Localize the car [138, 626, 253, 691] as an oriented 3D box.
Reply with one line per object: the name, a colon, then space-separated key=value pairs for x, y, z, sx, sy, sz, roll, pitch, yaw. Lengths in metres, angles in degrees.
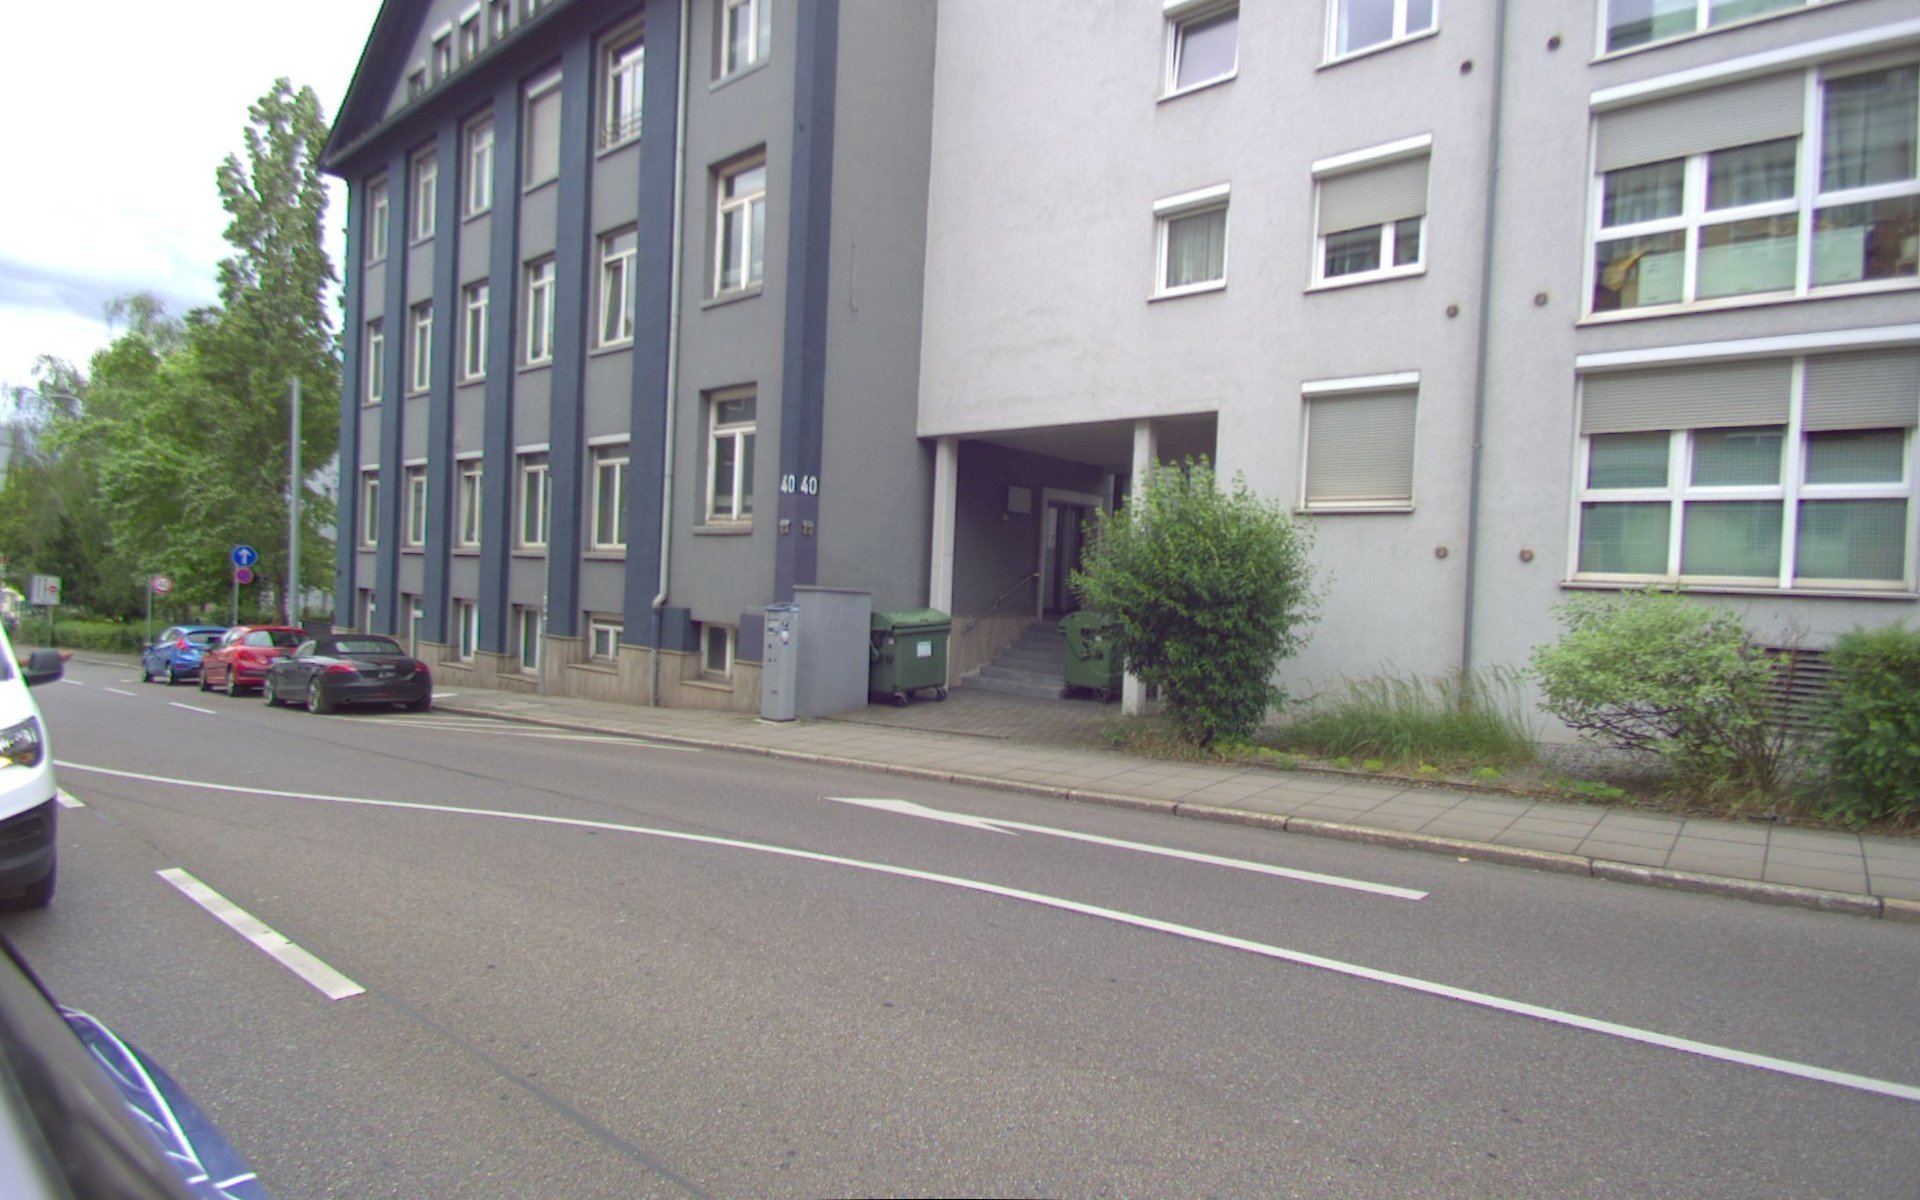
car: x=-19.512 y=1.429 z=25.773 sx=3.727 sy=1.460 sz=1.623 roll=-1 pitch=0 yaw=41

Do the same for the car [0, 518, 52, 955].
car: x=-6.134 y=0.617 z=5.206 sx=3.998 sy=1.901 sz=1.716 roll=-1 pitch=0 yaw=41

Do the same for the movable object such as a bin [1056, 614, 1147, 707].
movable object such as a bin: x=2.313 y=0.951 z=16.546 sx=1.078 sy=1.427 sz=1.026 roll=-1 pitch=0 yaw=41

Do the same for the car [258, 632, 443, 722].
car: x=-10.968 y=1.296 z=18.140 sx=3.727 sy=1.403 sz=1.778 roll=-1 pitch=-2 yaw=41

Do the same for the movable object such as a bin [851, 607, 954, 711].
movable object such as a bin: x=-0.887 y=0.884 z=15.775 sx=1.039 sy=1.518 sz=1.213 roll=-1 pitch=0 yaw=41

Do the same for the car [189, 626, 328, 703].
car: x=-15.322 y=1.330 z=22.042 sx=3.727 sy=1.460 sz=1.623 roll=-1 pitch=0 yaw=41
